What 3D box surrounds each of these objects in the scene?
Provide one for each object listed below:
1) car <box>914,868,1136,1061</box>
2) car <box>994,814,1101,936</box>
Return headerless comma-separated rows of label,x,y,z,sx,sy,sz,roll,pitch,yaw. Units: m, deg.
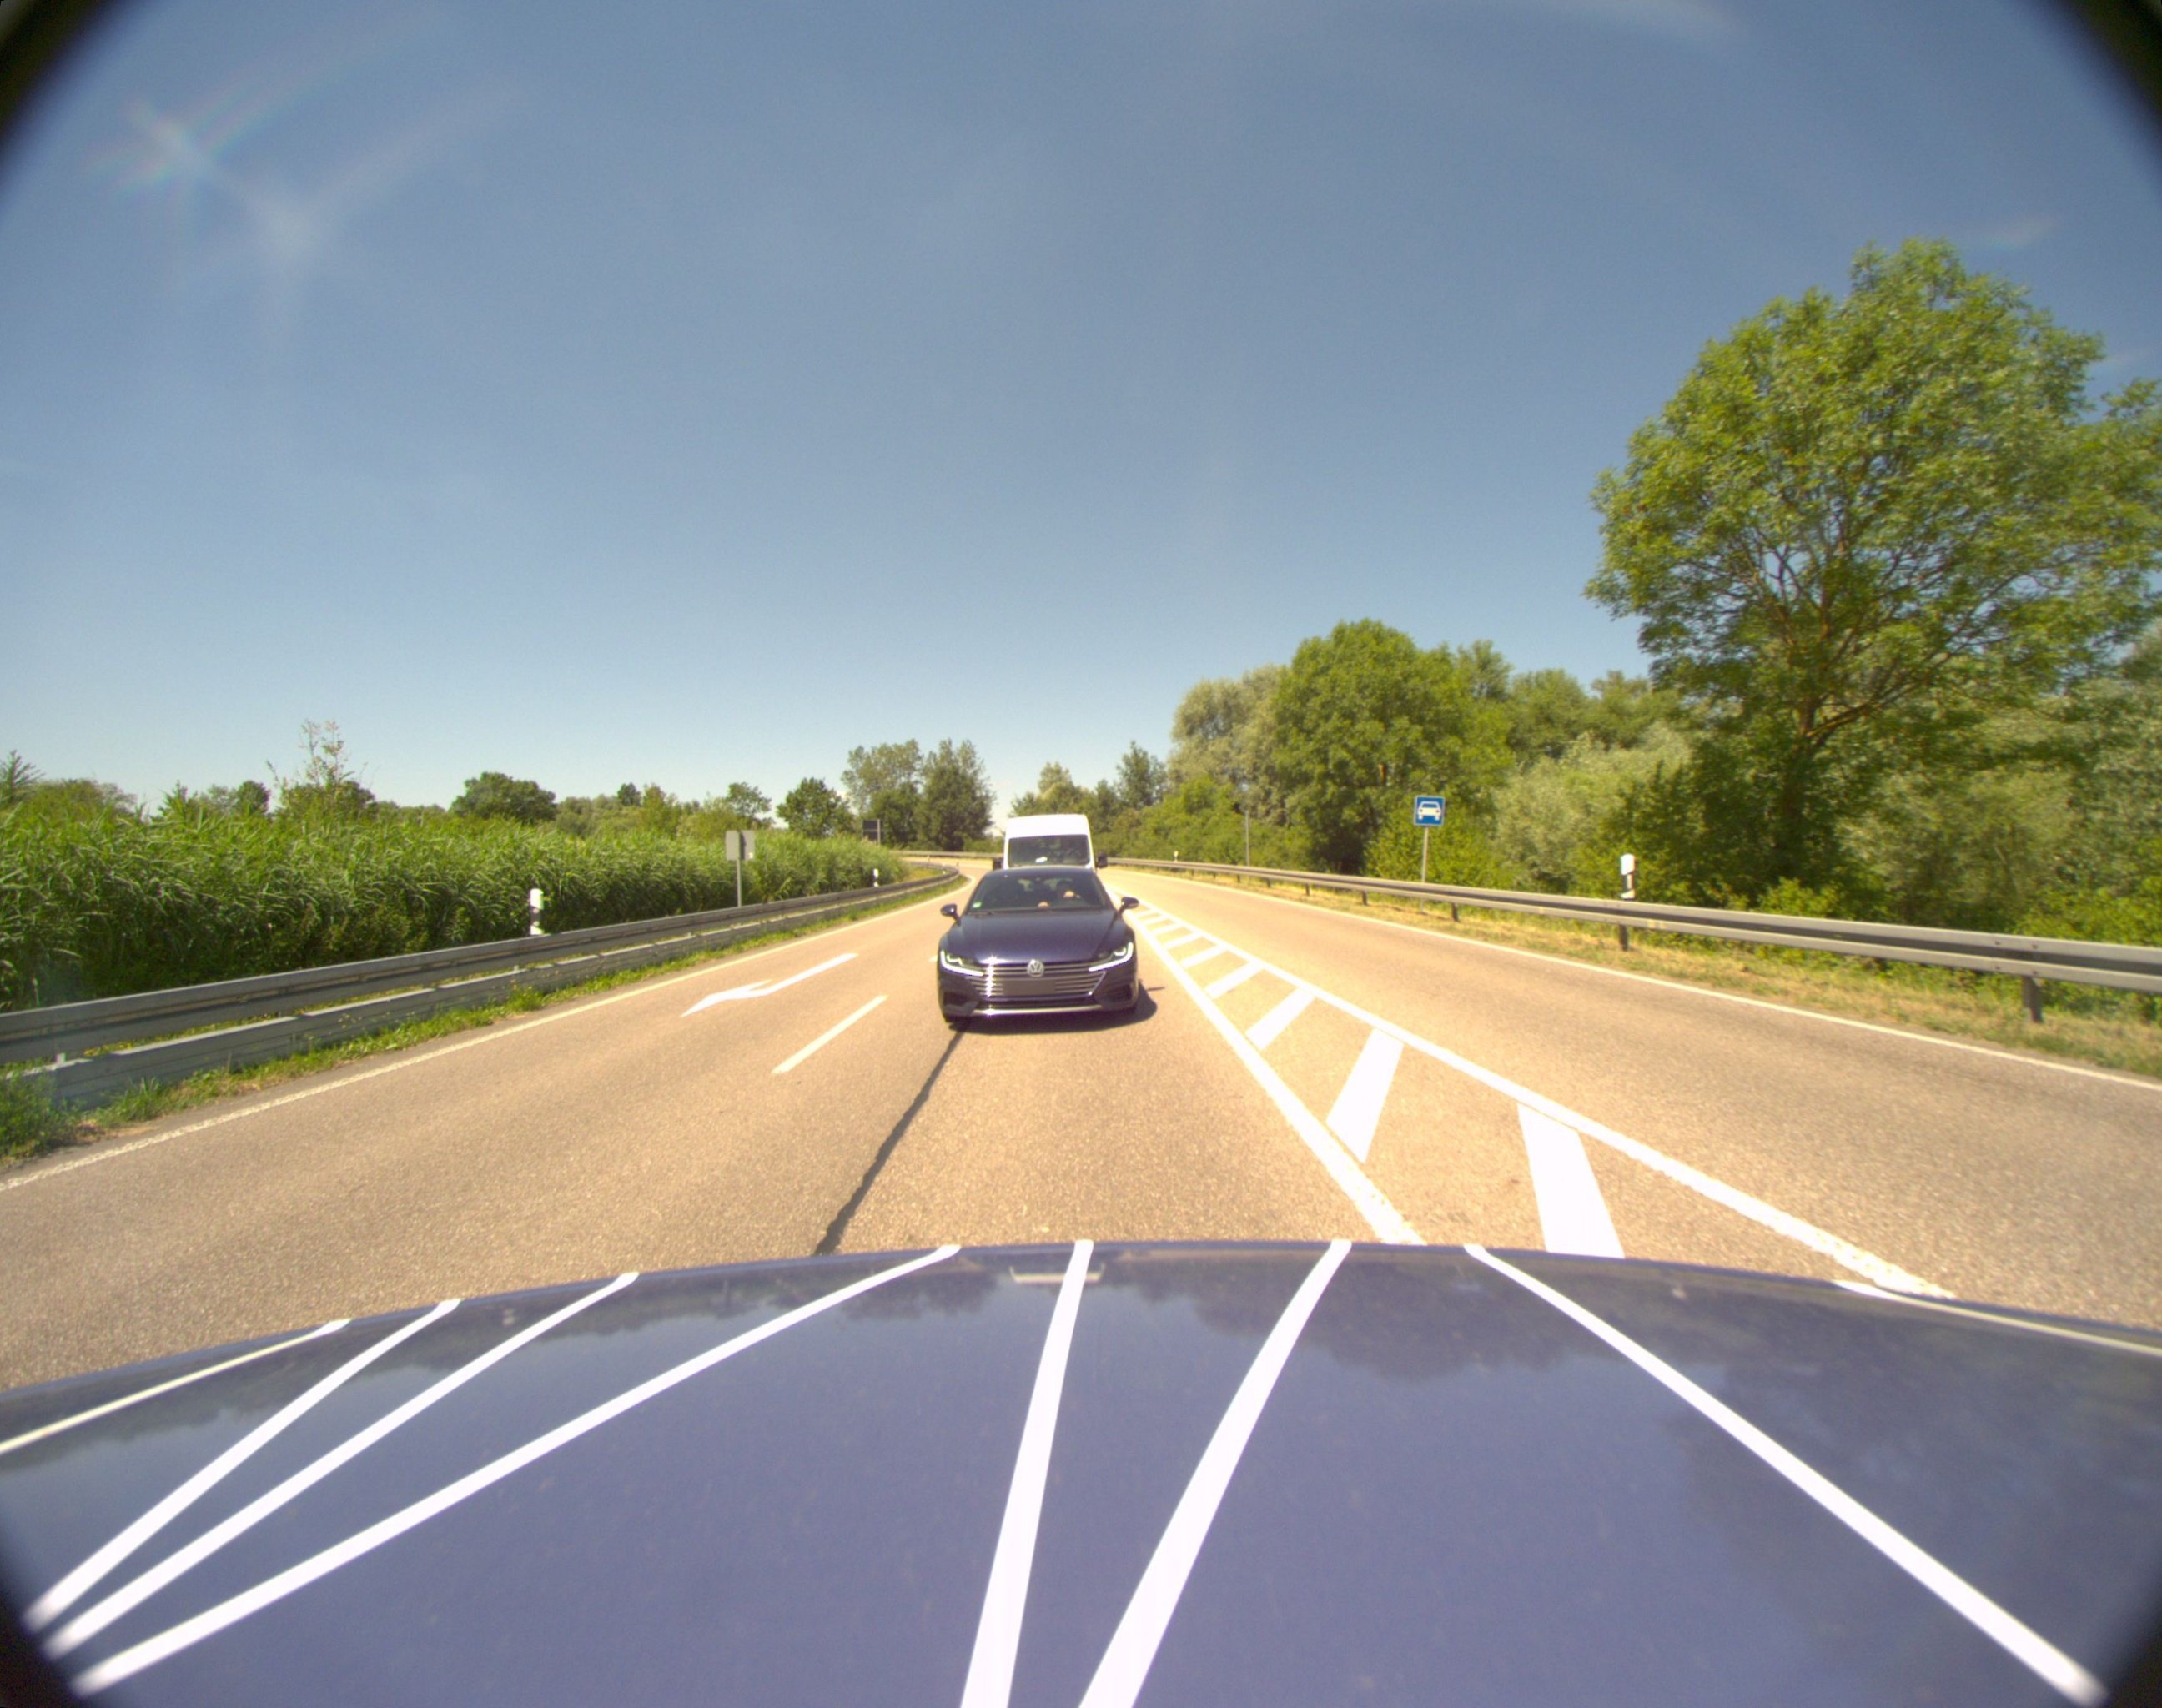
car,-0.444,0.936,8.175,1.761,1.401,3.999,-2,1,0
car,-0.656,0.392,18.127,2.059,2.376,5.826,-2,1,0
